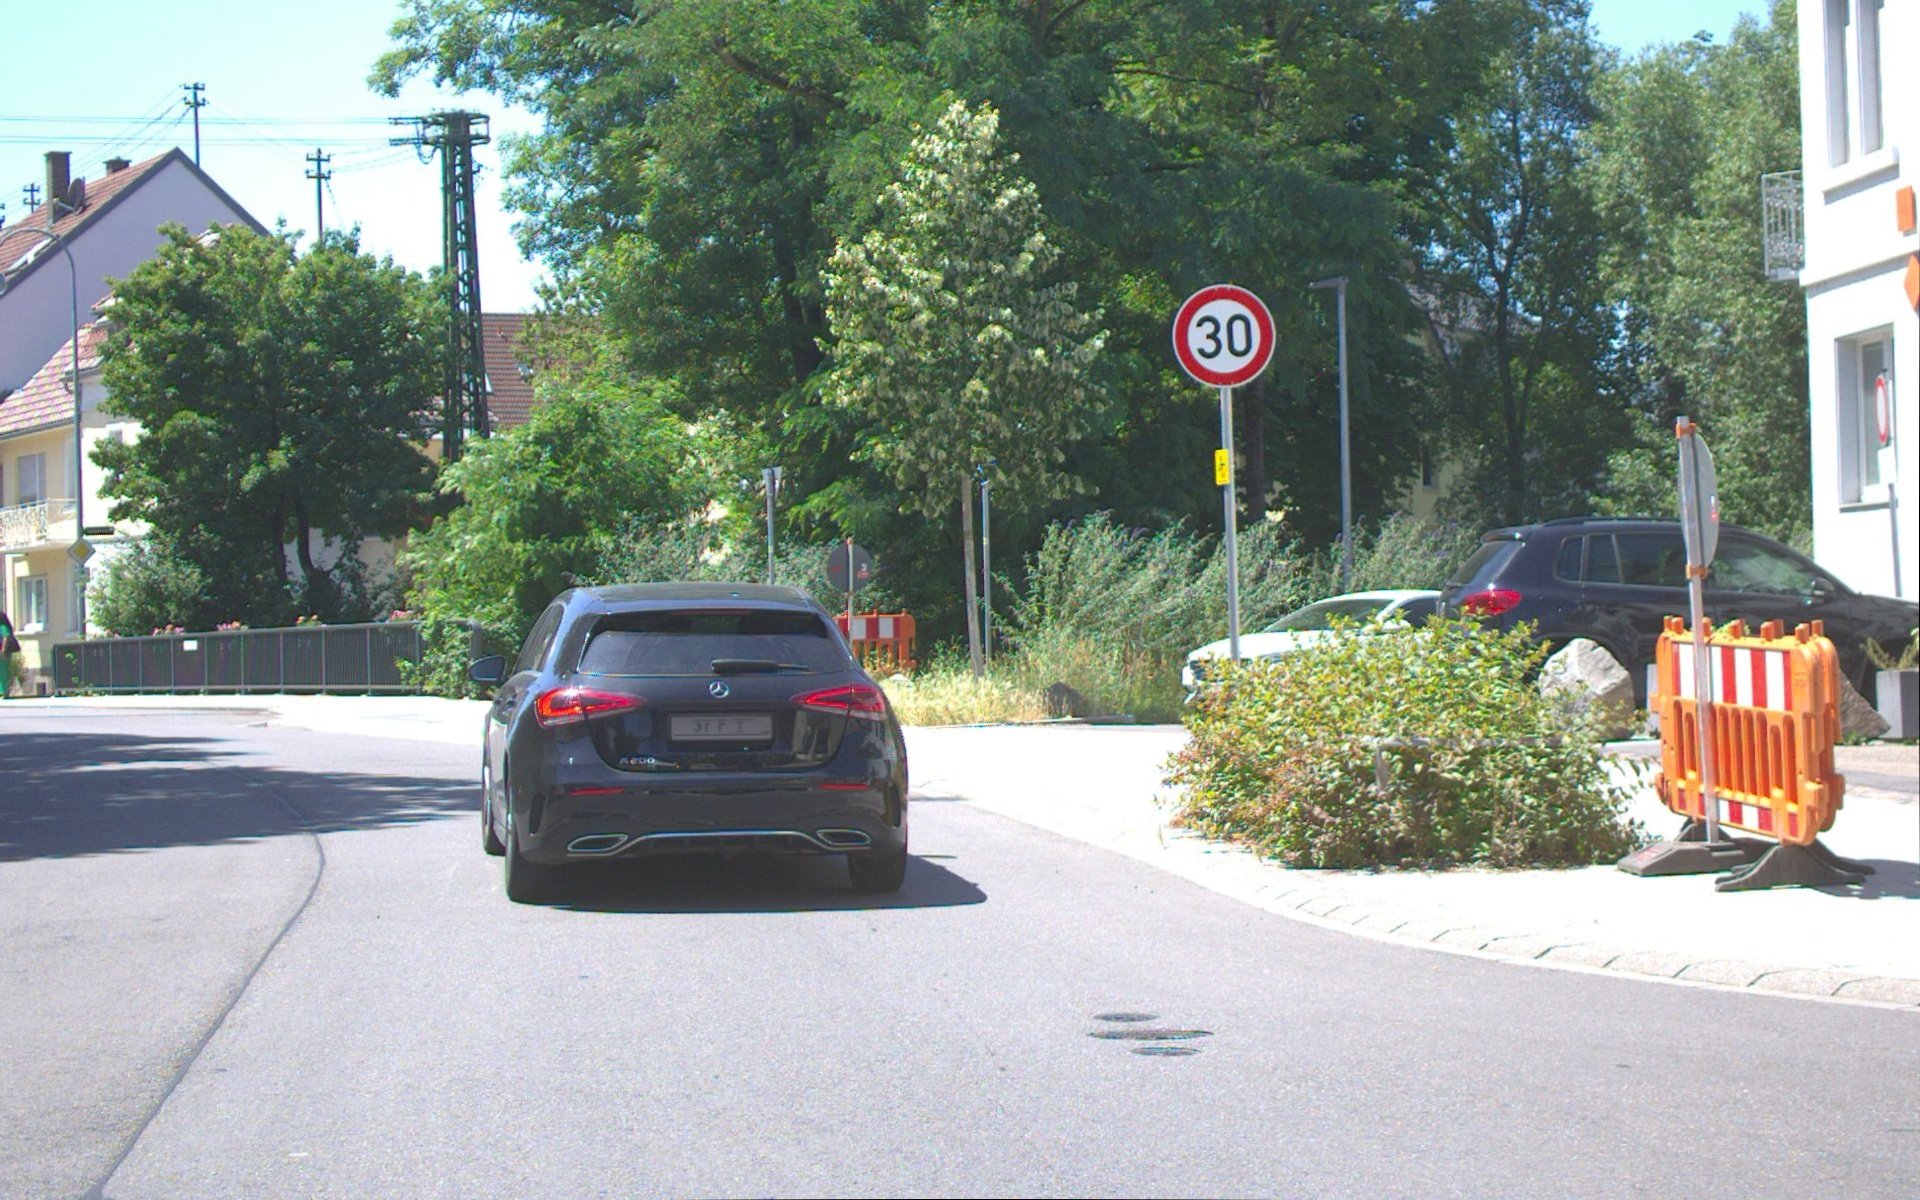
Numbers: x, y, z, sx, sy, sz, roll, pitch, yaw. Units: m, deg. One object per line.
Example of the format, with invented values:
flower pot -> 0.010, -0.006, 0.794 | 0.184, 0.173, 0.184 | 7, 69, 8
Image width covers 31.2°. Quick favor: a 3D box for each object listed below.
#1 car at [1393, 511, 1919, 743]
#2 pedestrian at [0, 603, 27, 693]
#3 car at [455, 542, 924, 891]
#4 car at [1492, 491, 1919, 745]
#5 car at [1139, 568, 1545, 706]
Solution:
car -> 5.541, 0.214, 26.460 | 4.074, 1.710, 1.856 | 0, -1, -5
pedestrian -> -18.744, 0.938, 67.261 | 0.701, 1.735, 0.661 | -2, -1, 44
car -> -1.436, 0.579, 16.652 | 1.827, 1.437, 4.000 | -1, -2, -10
car -> 5.986, 0.138, 24.312 | 4.074, 1.710, 1.856 | 0, -1, -5
car -> 4.068, 0.384, 36.313 | 4.190, 1.345, 1.860 | 1, 1, -40
